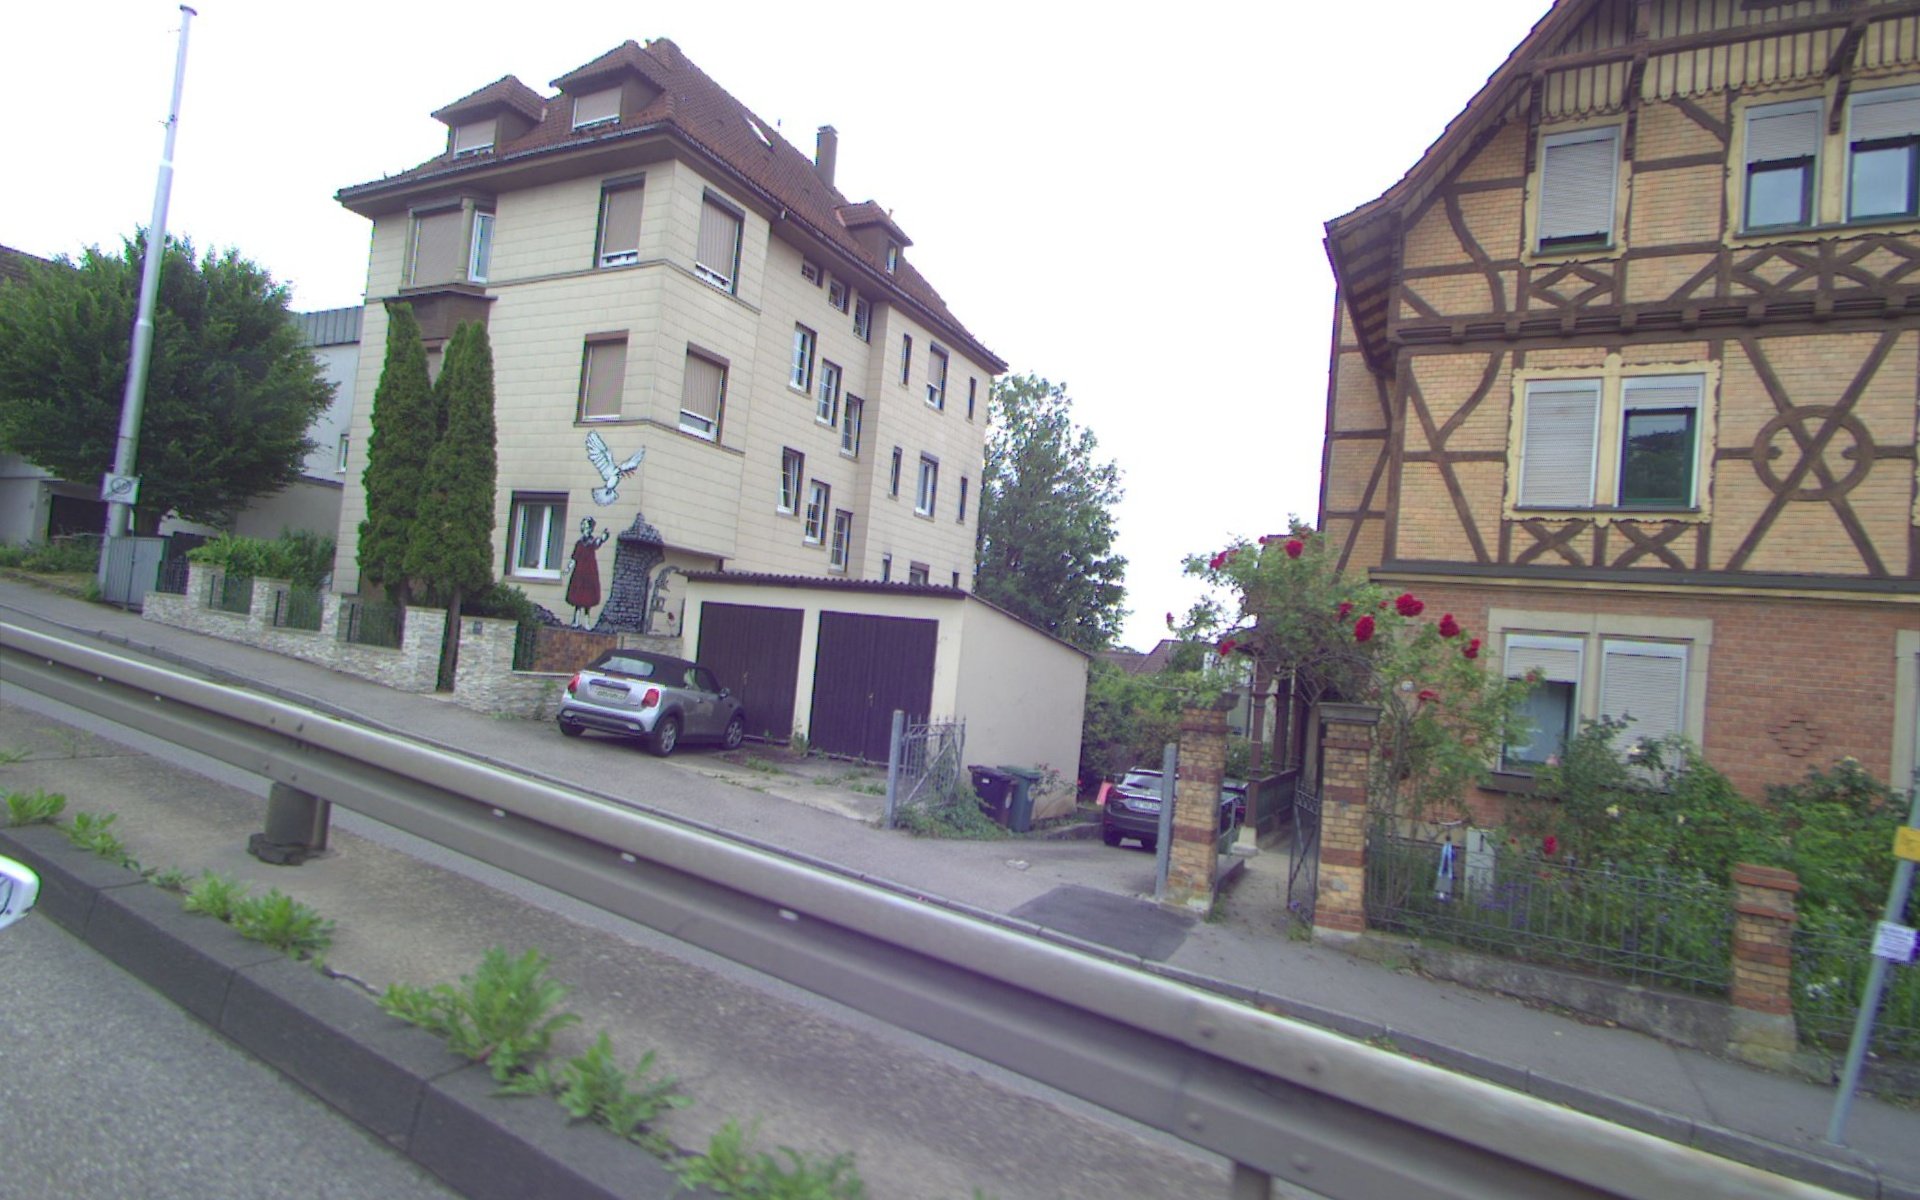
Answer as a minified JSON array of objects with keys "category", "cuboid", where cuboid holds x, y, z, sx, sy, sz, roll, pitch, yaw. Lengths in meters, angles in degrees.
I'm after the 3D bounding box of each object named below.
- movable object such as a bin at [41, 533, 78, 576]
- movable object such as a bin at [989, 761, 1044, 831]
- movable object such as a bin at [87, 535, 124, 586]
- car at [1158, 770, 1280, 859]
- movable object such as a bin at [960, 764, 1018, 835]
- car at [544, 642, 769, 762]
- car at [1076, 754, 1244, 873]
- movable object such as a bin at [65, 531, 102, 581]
[{"category":"movable object such as a bin","cuboid":[-25.121,-1.270,28.062,0.529,1.069,0.496,8,-2,31]},{"category":"movable object such as a bin","cuboid":[0.969,3.335,17.206,0.579,1.057,0.579,8,-2,33]},{"category":"movable object such as a bin","cuboid":[-24.704,-1.135,29.077,0.529,1.378,0.496,8,-2,31]},{"category":"car","cuboid":[6.286,5.142,24.108,1.804,1.596,3.680,7,-8,30]},{"category":"movable object such as a bin","cuboid":[0.469,3.220,16.304,0.612,1.017,0.534,7,-2,33]},{"category":"car","cuboid":[-4.685,1.541,16.083,1.672,1.451,3.618,8,-1,14]},{"category":"car","cuboid":[3.754,3.901,18.352,1.804,1.596,3.680,7,-8,30]},{"category":"movable object such as a bin","cuboid":[-24.849,-1.241,28.533,0.529,1.286,0.496,8,-2,31]}]
